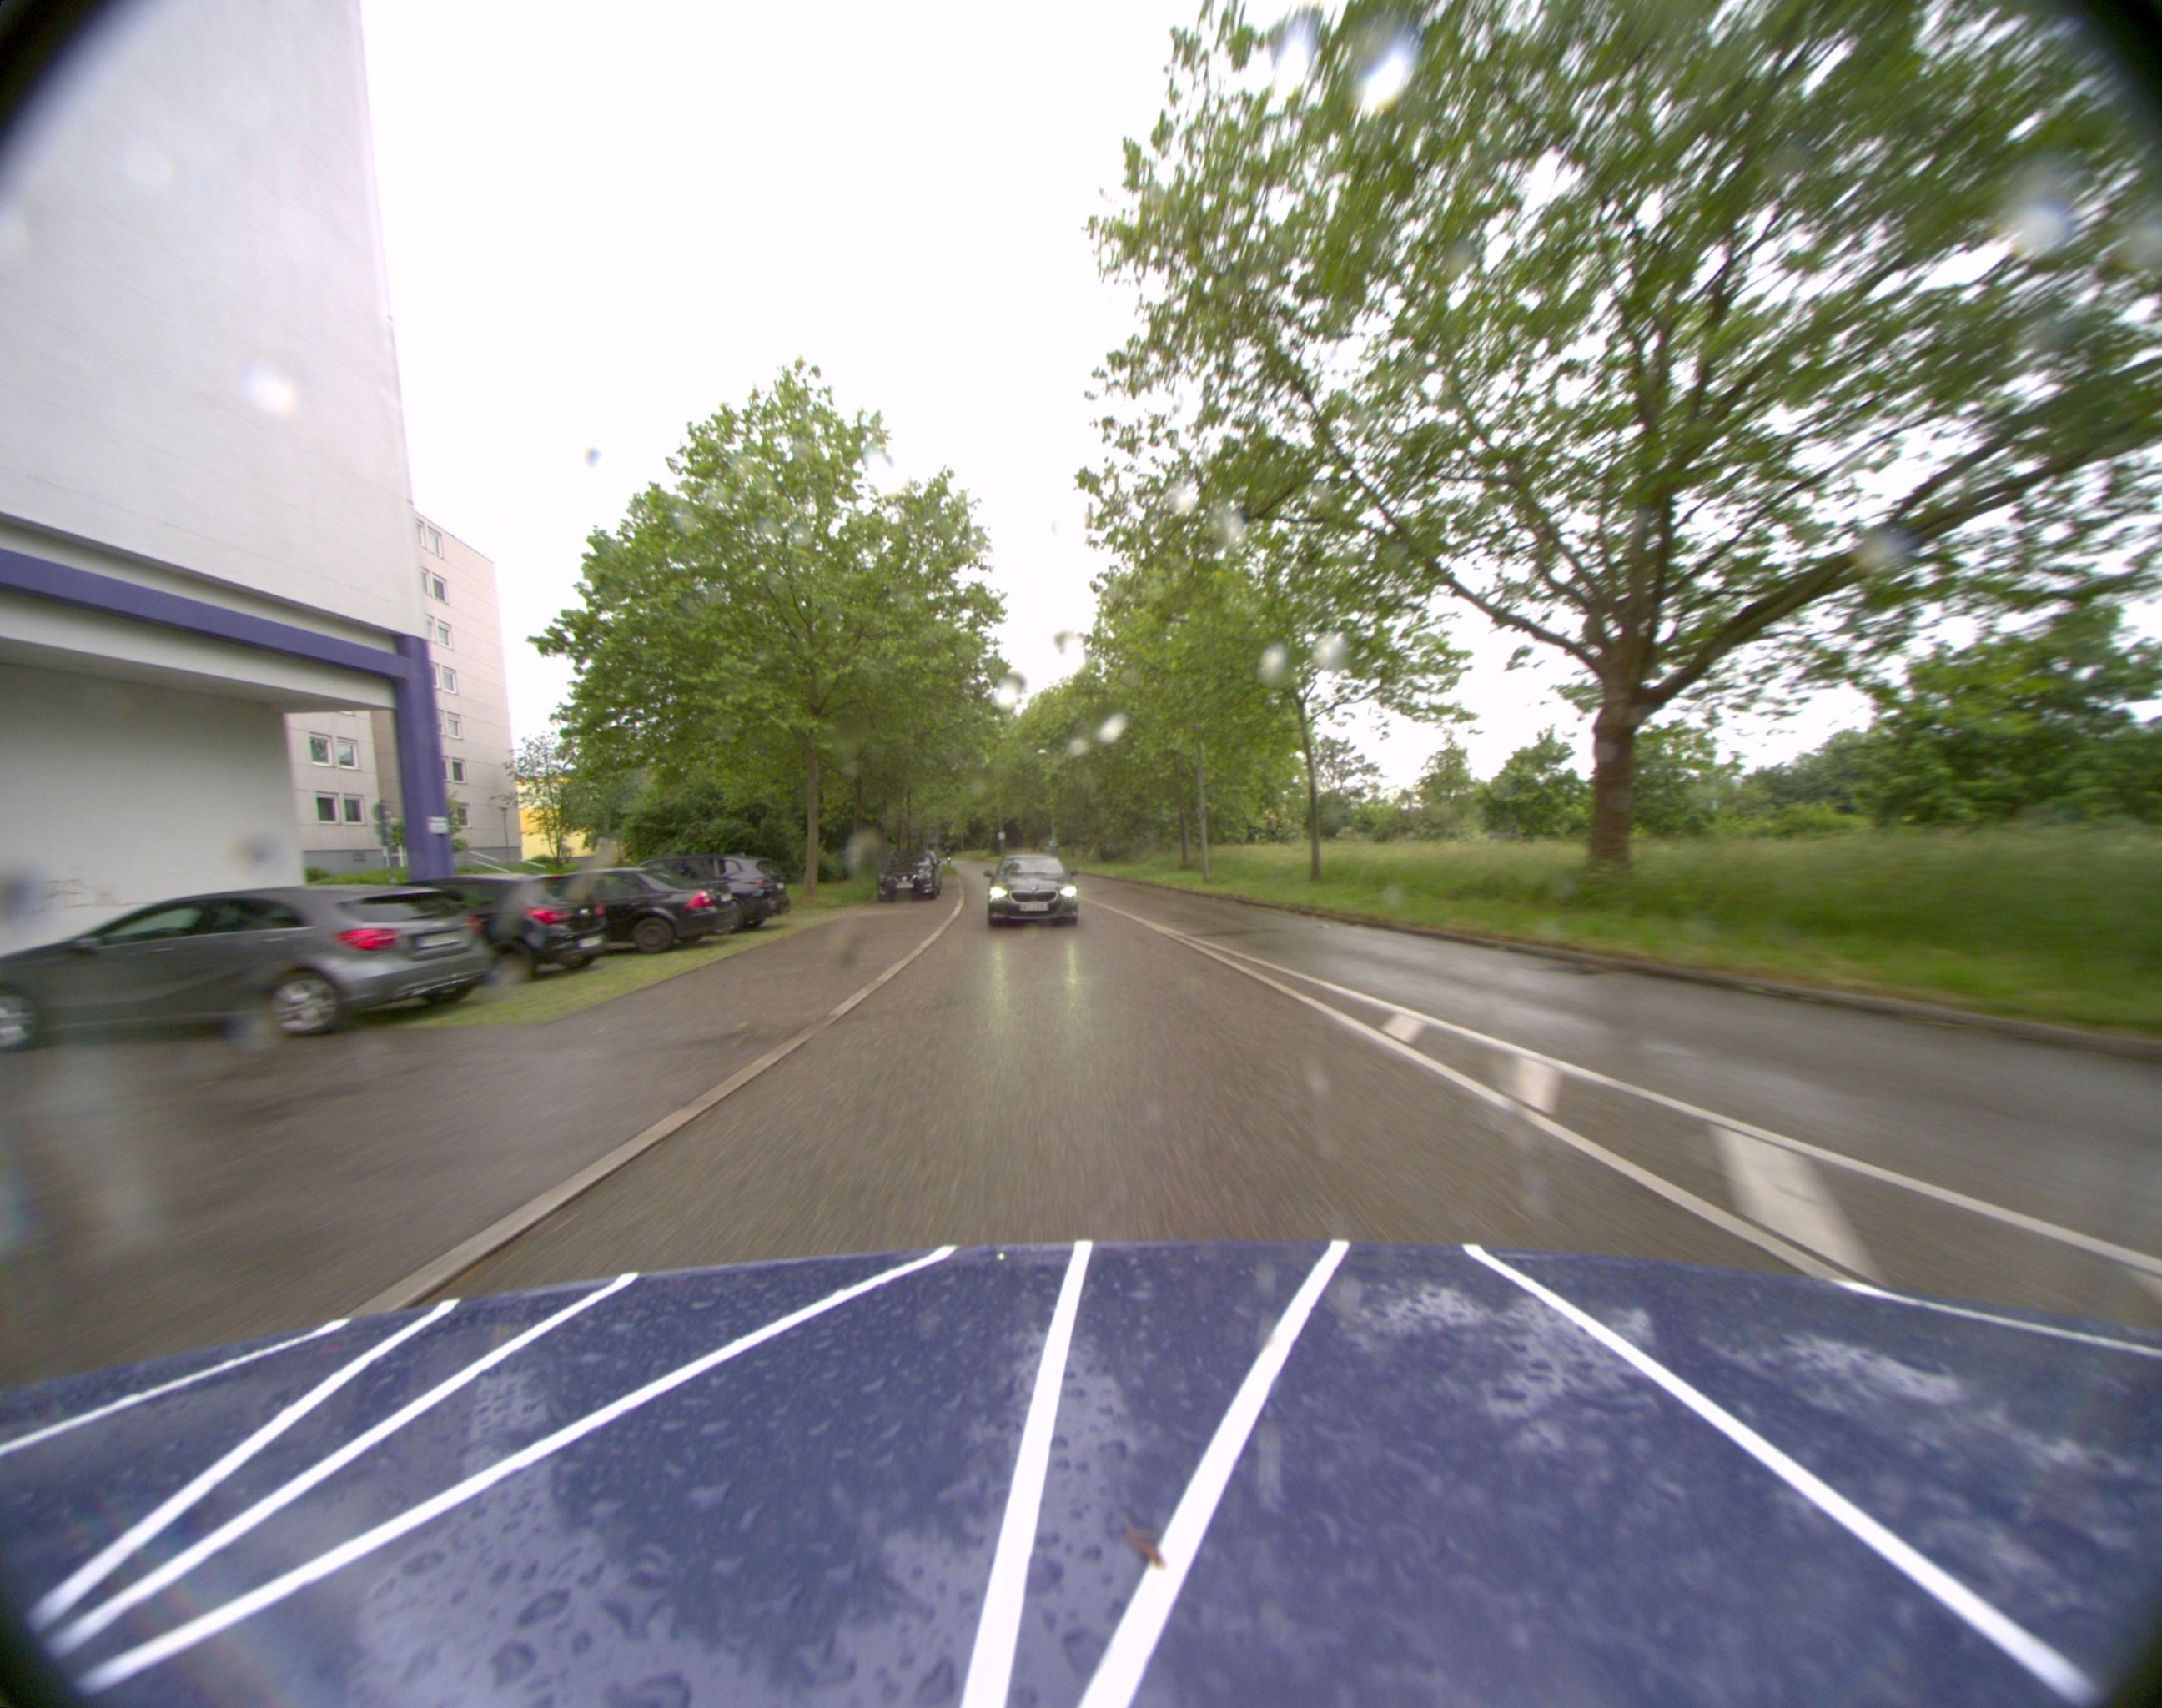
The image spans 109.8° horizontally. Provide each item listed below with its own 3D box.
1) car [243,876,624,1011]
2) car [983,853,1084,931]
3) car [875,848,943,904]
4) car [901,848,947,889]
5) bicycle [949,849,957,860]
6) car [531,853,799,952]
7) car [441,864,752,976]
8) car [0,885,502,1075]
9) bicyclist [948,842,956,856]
[{"bbox_3d":[-8.737,1.153,10.551,3.626,1.444,1.720,-3,1,-5],"label":"car"},{"bbox_3d":[-0.948,0.755,17.681,1.843,1.486,4.902,-2,0,2],"label":"car"},{"bbox_3d":[-5.641,0.654,25.418,1.807,1.593,4.367,-2,2,-8],"label":"car"},{"bbox_3d":[-6.730,0.557,32.881,1.733,1.582,4.248,-1,1,-9],"label":"car"},{"bbox_3d":[-14.259,0.053,84.555,0.454,1.128,1.830,-5,2,-17],"label":"bicycle"},{"bbox_3d":[-8.475,0.934,15.863,4.484,1.670,1.766,-3,1,-7],"label":"car"},{"bbox_3d":[-8.195,1.065,13.215,4.119,1.470,1.720,-3,3,-7],"label":"car"},{"bbox_3d":[-8.695,1.210,7.852,3.949,1.445,1.720,-3,2,-2],"label":"car"},{"bbox_3d":[-14.310,-0.551,84.472,0.698,1.489,0.799,-5,2,-17],"label":"bicyclist"}]
